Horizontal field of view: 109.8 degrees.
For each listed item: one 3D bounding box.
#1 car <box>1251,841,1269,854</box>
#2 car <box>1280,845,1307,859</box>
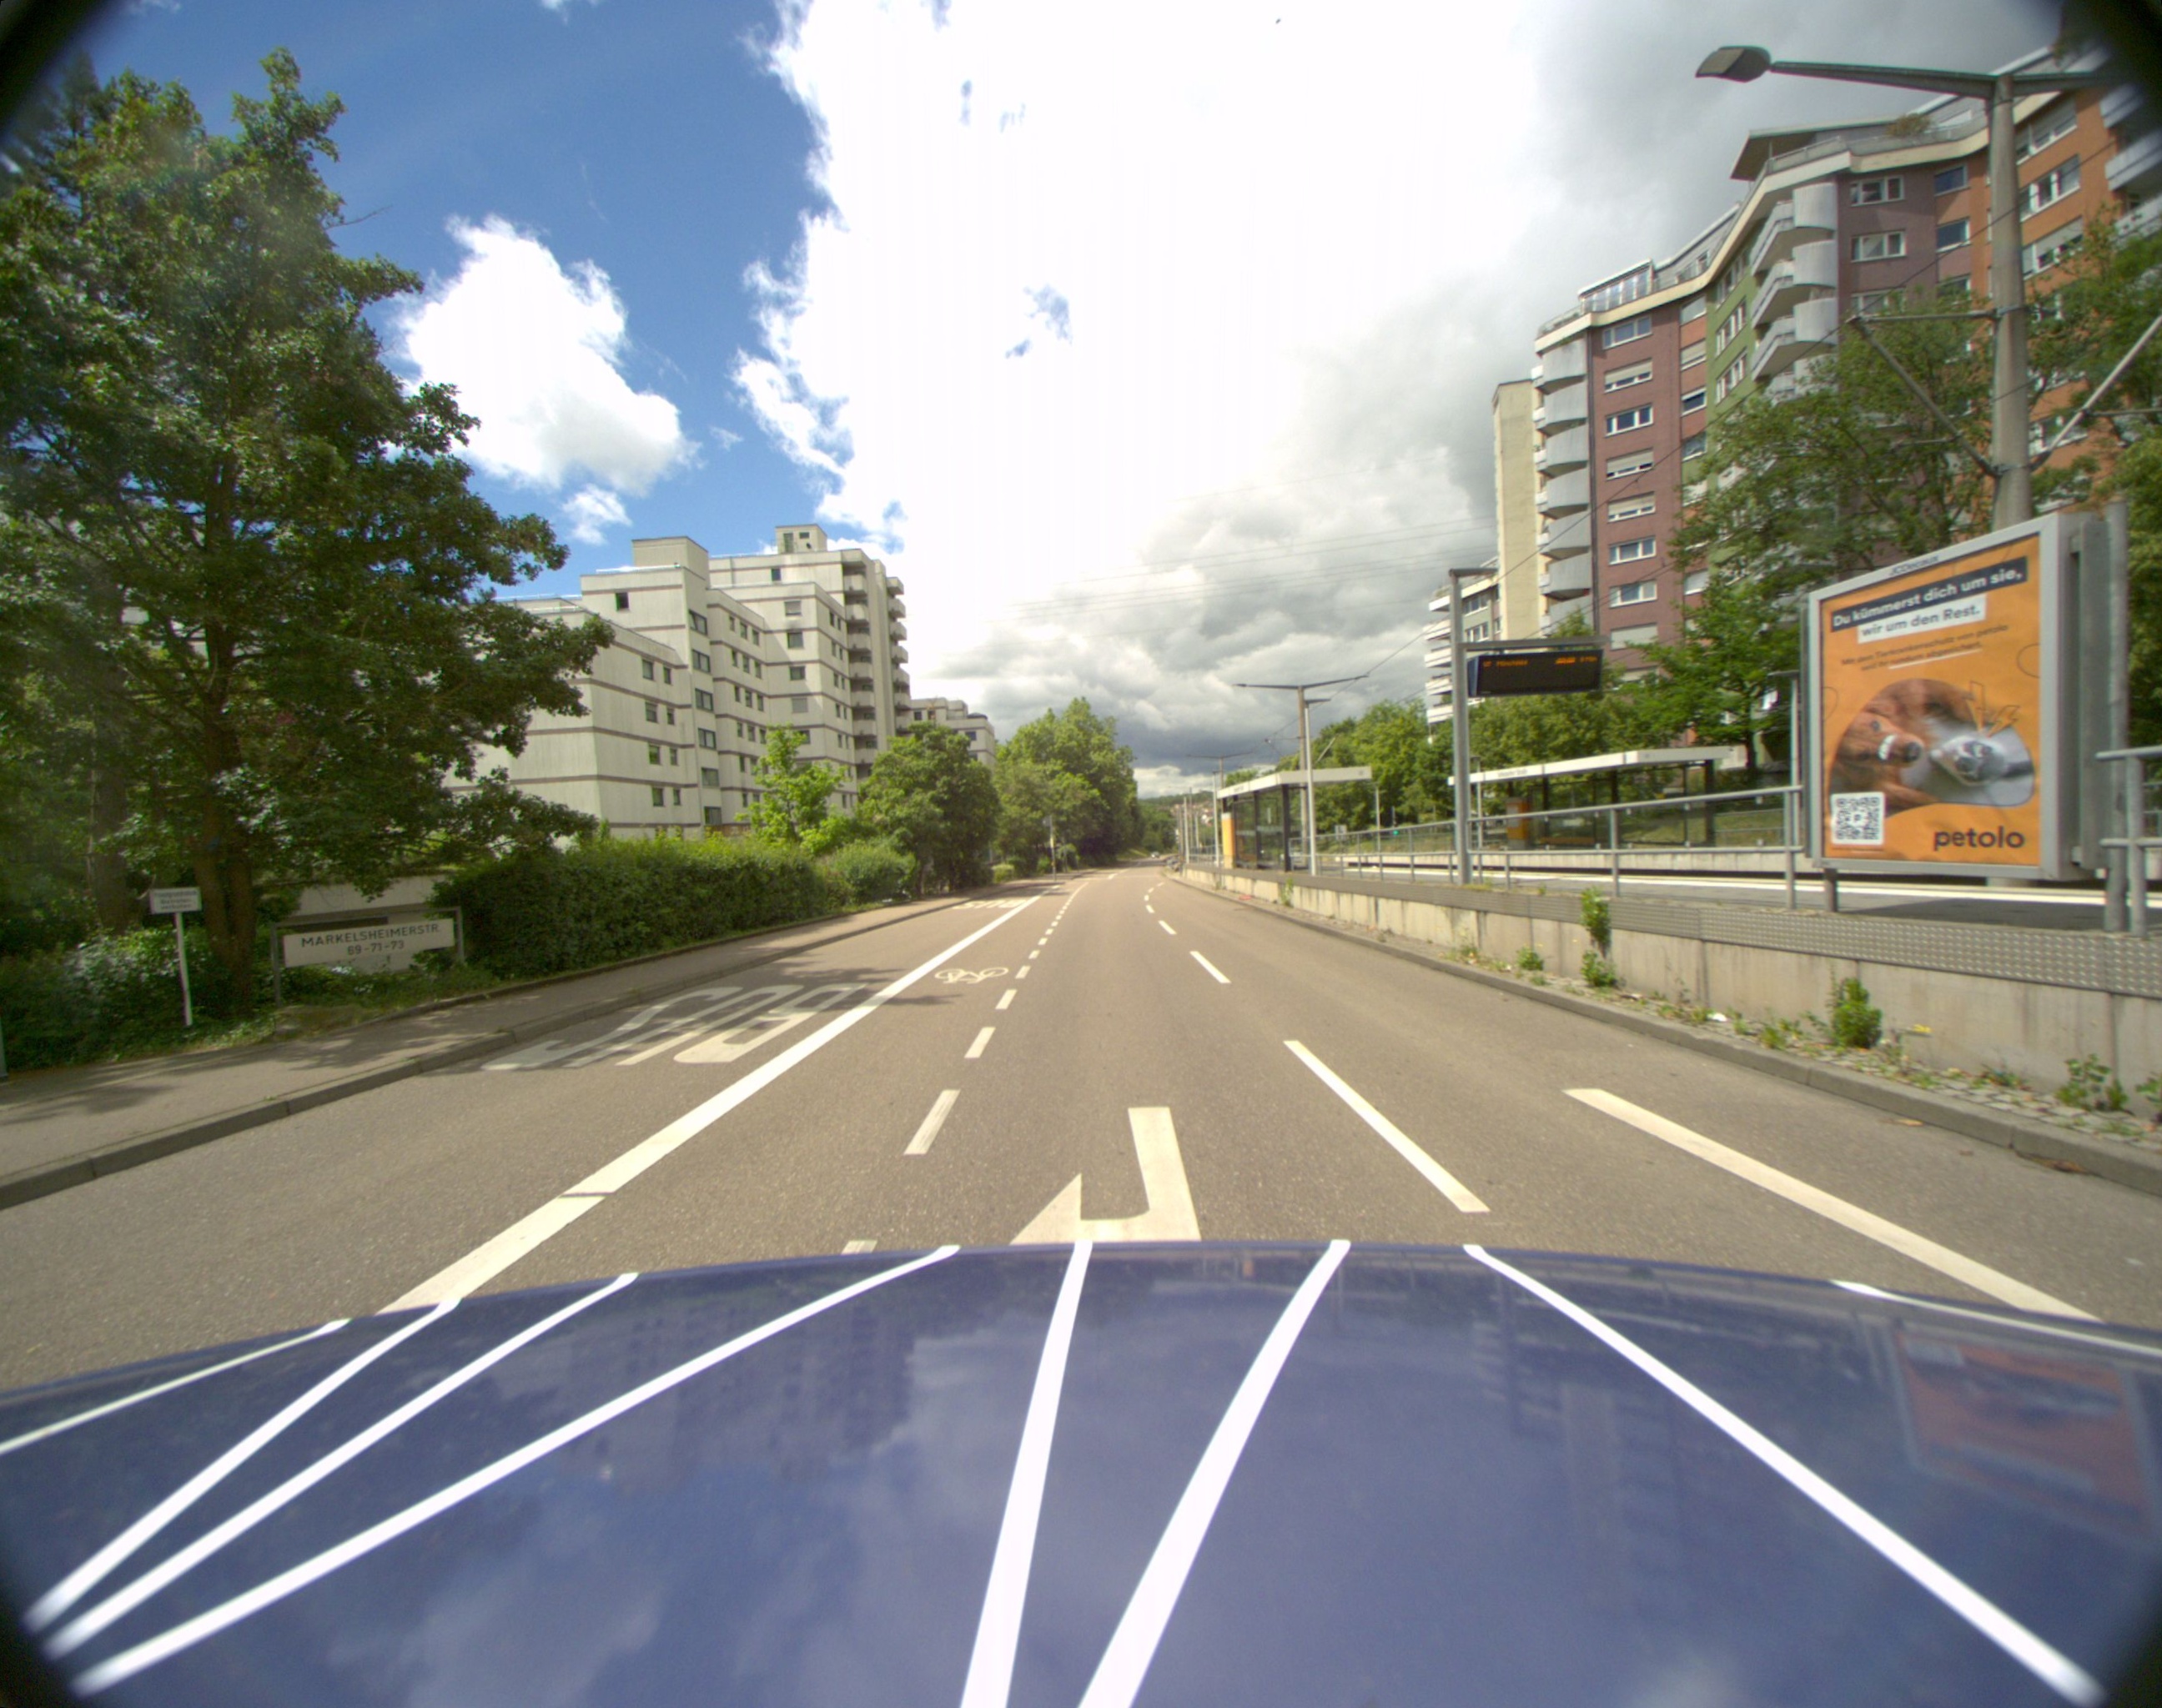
[{"bbox_3d":[22.411,-0.797,95.223,1.658,1.503,3.738,-2,0,4],"label":"car"},{"bbox_3d":[21.922,-0.202,78.443,1.658,1.410,4.000,-2,0,1],"label":"car"}]
